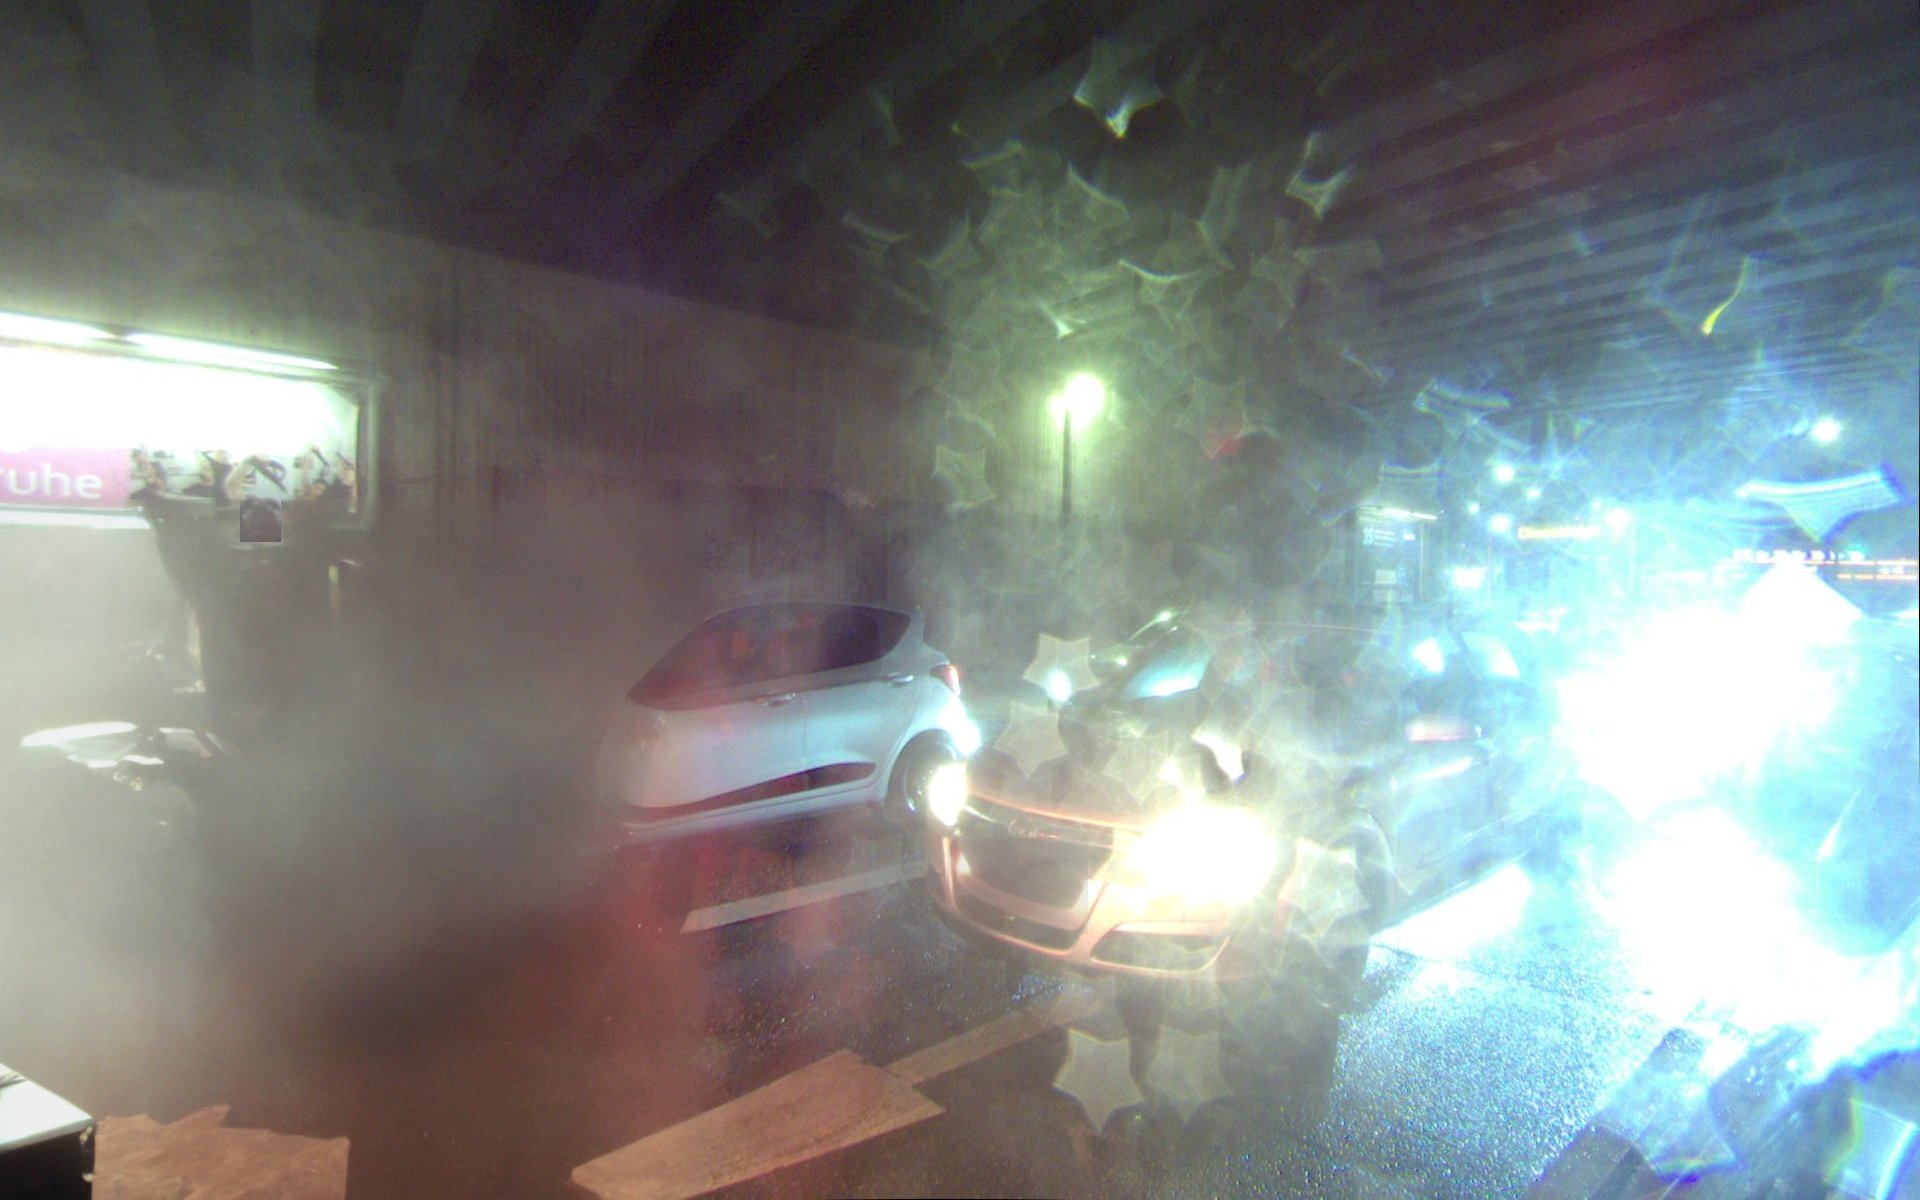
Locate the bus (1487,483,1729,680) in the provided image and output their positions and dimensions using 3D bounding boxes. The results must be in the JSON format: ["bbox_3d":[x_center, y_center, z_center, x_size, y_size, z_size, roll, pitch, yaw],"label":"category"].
[{"bbox_3d":[14.093,-0.401,21.529,2.733,3.318,9.551,1,1,43],"label":"bus"}]

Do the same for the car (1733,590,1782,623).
[{"bbox_3d":[40.071,0.297,50.832,1.693,1.481,3.914,3,3,41],"label":"car"}]

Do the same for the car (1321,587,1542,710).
[{"bbox_3d":[7.145,0.601,15.146,1.721,1.505,4.096,3,3,44],"label":"car"}]

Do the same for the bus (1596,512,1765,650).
[{"bbox_3d":[20.552,-0.550,28.564,2.733,3.278,9.551,1,1,43],"label":"bus"}]

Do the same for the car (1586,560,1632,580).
[{"bbox_3d":[46.336,-2.143,72.340,1.685,1.407,3.979,0,1,17],"label":"car"}]

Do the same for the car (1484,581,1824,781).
[{"bbox_3d":[6.744,0.620,9.661,4.091,1.506,1.722,-1,-2,-42],"label":"car"}]

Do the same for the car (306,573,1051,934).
[{"bbox_3d":[-1.471,0.604,6.230,4.091,1.464,1.723,-1,3,-42],"label":"car"}]

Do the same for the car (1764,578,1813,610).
[{"bbox_3d":[46.896,-0.377,57.326,1.713,1.725,3.925,3,3,34],"label":"car"}]

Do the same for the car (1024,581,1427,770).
[{"bbox_3d":[2.920,0.577,10.423,4.705,1.505,1.723,-1,2,-42],"label":"car"}]

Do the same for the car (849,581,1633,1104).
[{"bbox_3d":[1.629,0.651,4.871,4.091,1.464,1.723,-1,1,-42],"label":"car"}]

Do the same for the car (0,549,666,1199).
[{"bbox_3d":[-2.693,0.662,0.992,4.308,1.464,1.723,-1,3,-42],"label":"car"}]
